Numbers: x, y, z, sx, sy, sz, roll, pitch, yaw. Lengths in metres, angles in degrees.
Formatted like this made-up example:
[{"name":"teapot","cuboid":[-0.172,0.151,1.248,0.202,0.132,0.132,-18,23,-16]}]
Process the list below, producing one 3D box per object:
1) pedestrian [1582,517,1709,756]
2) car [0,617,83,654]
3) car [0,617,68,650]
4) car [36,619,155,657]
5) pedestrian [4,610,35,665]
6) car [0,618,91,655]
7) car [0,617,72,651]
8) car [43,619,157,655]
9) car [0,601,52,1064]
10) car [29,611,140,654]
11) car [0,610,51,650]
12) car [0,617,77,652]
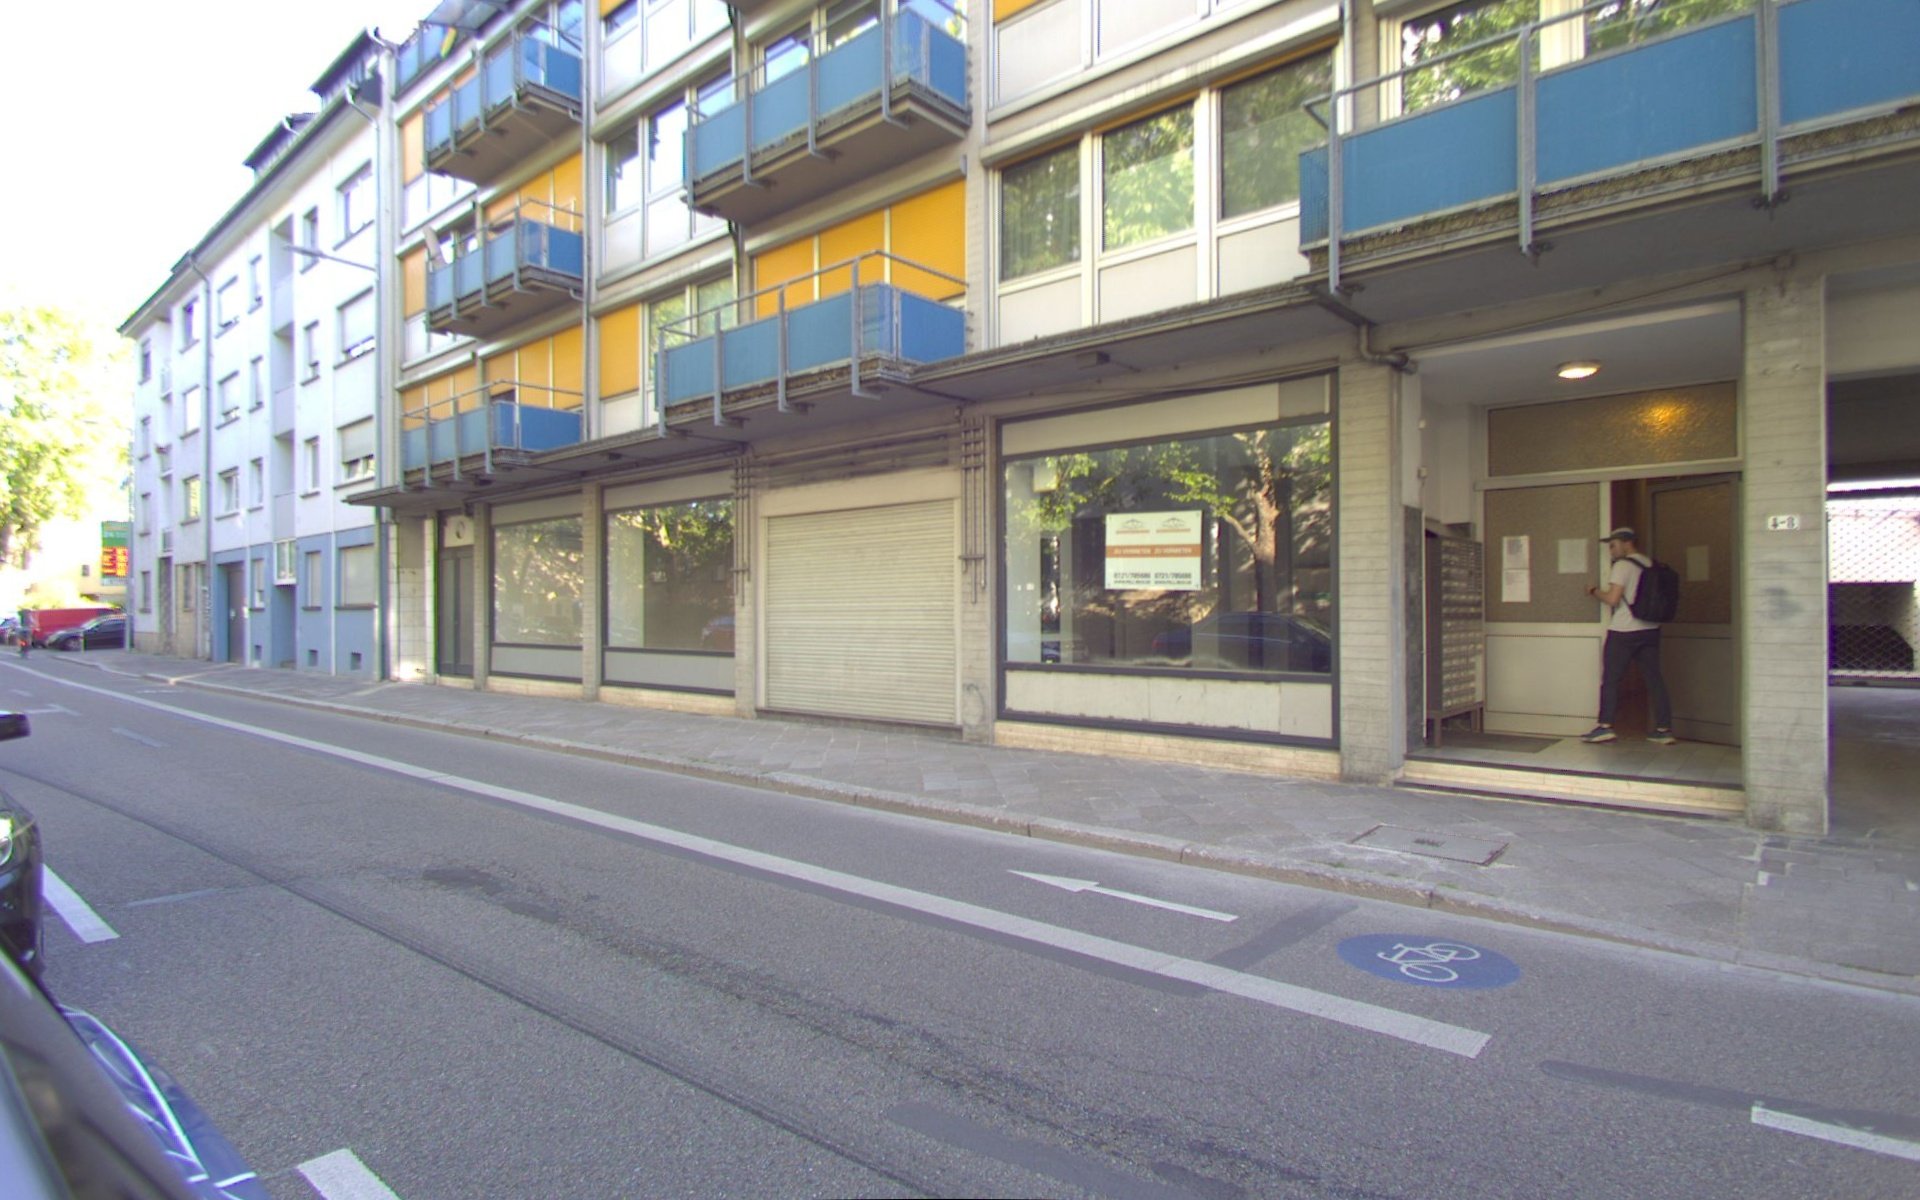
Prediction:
[{"name":"pedestrian","cuboid":[5.758,0.288,8.508,0.787,1.894,0.573,-1,0,43]},{"name":"car","cuboid":[-53.515,2.035,58.612,2.000,1.962,3.944,-1,0,42]},{"name":"car","cuboid":[-59.201,2.109,64.016,2.000,1.962,3.944,-1,0,42]},{"name":"car","cuboid":[-39.752,1.723,46.605,2.000,1.564,3.944,-1,0,42]},{"name":"pedestrian","cuboid":[-35.103,1.381,37.772,1.046,2.029,0.725,-1,0,41]},{"name":"car","cuboid":[-51.565,2.010,56.830,2.000,1.962,3.944,-1,0,42]},{"name":"car","cuboid":[-57.401,2.085,62.283,2.000,1.962,3.944,-1,0,42]},{"name":"car","cuboid":[-41.170,1.742,48.526,2.000,1.564,3.944,-1,0,42]},{"name":"car","cuboid":[-5.342,0.802,4.192,4.479,1.512,1.842,-1,-1,41]},{"name":"car","cuboid":[-43.425,1.572,50.251,2.000,1.962,3.944,-1,0,42]},{"name":"car","cuboid":[-62.793,1.956,66.786,2.000,2.538,3.944,-1,0,42]},{"name":"car","cuboid":[-55.596,2.062,60.565,2.000,1.962,3.944,-1,0,42]}]
